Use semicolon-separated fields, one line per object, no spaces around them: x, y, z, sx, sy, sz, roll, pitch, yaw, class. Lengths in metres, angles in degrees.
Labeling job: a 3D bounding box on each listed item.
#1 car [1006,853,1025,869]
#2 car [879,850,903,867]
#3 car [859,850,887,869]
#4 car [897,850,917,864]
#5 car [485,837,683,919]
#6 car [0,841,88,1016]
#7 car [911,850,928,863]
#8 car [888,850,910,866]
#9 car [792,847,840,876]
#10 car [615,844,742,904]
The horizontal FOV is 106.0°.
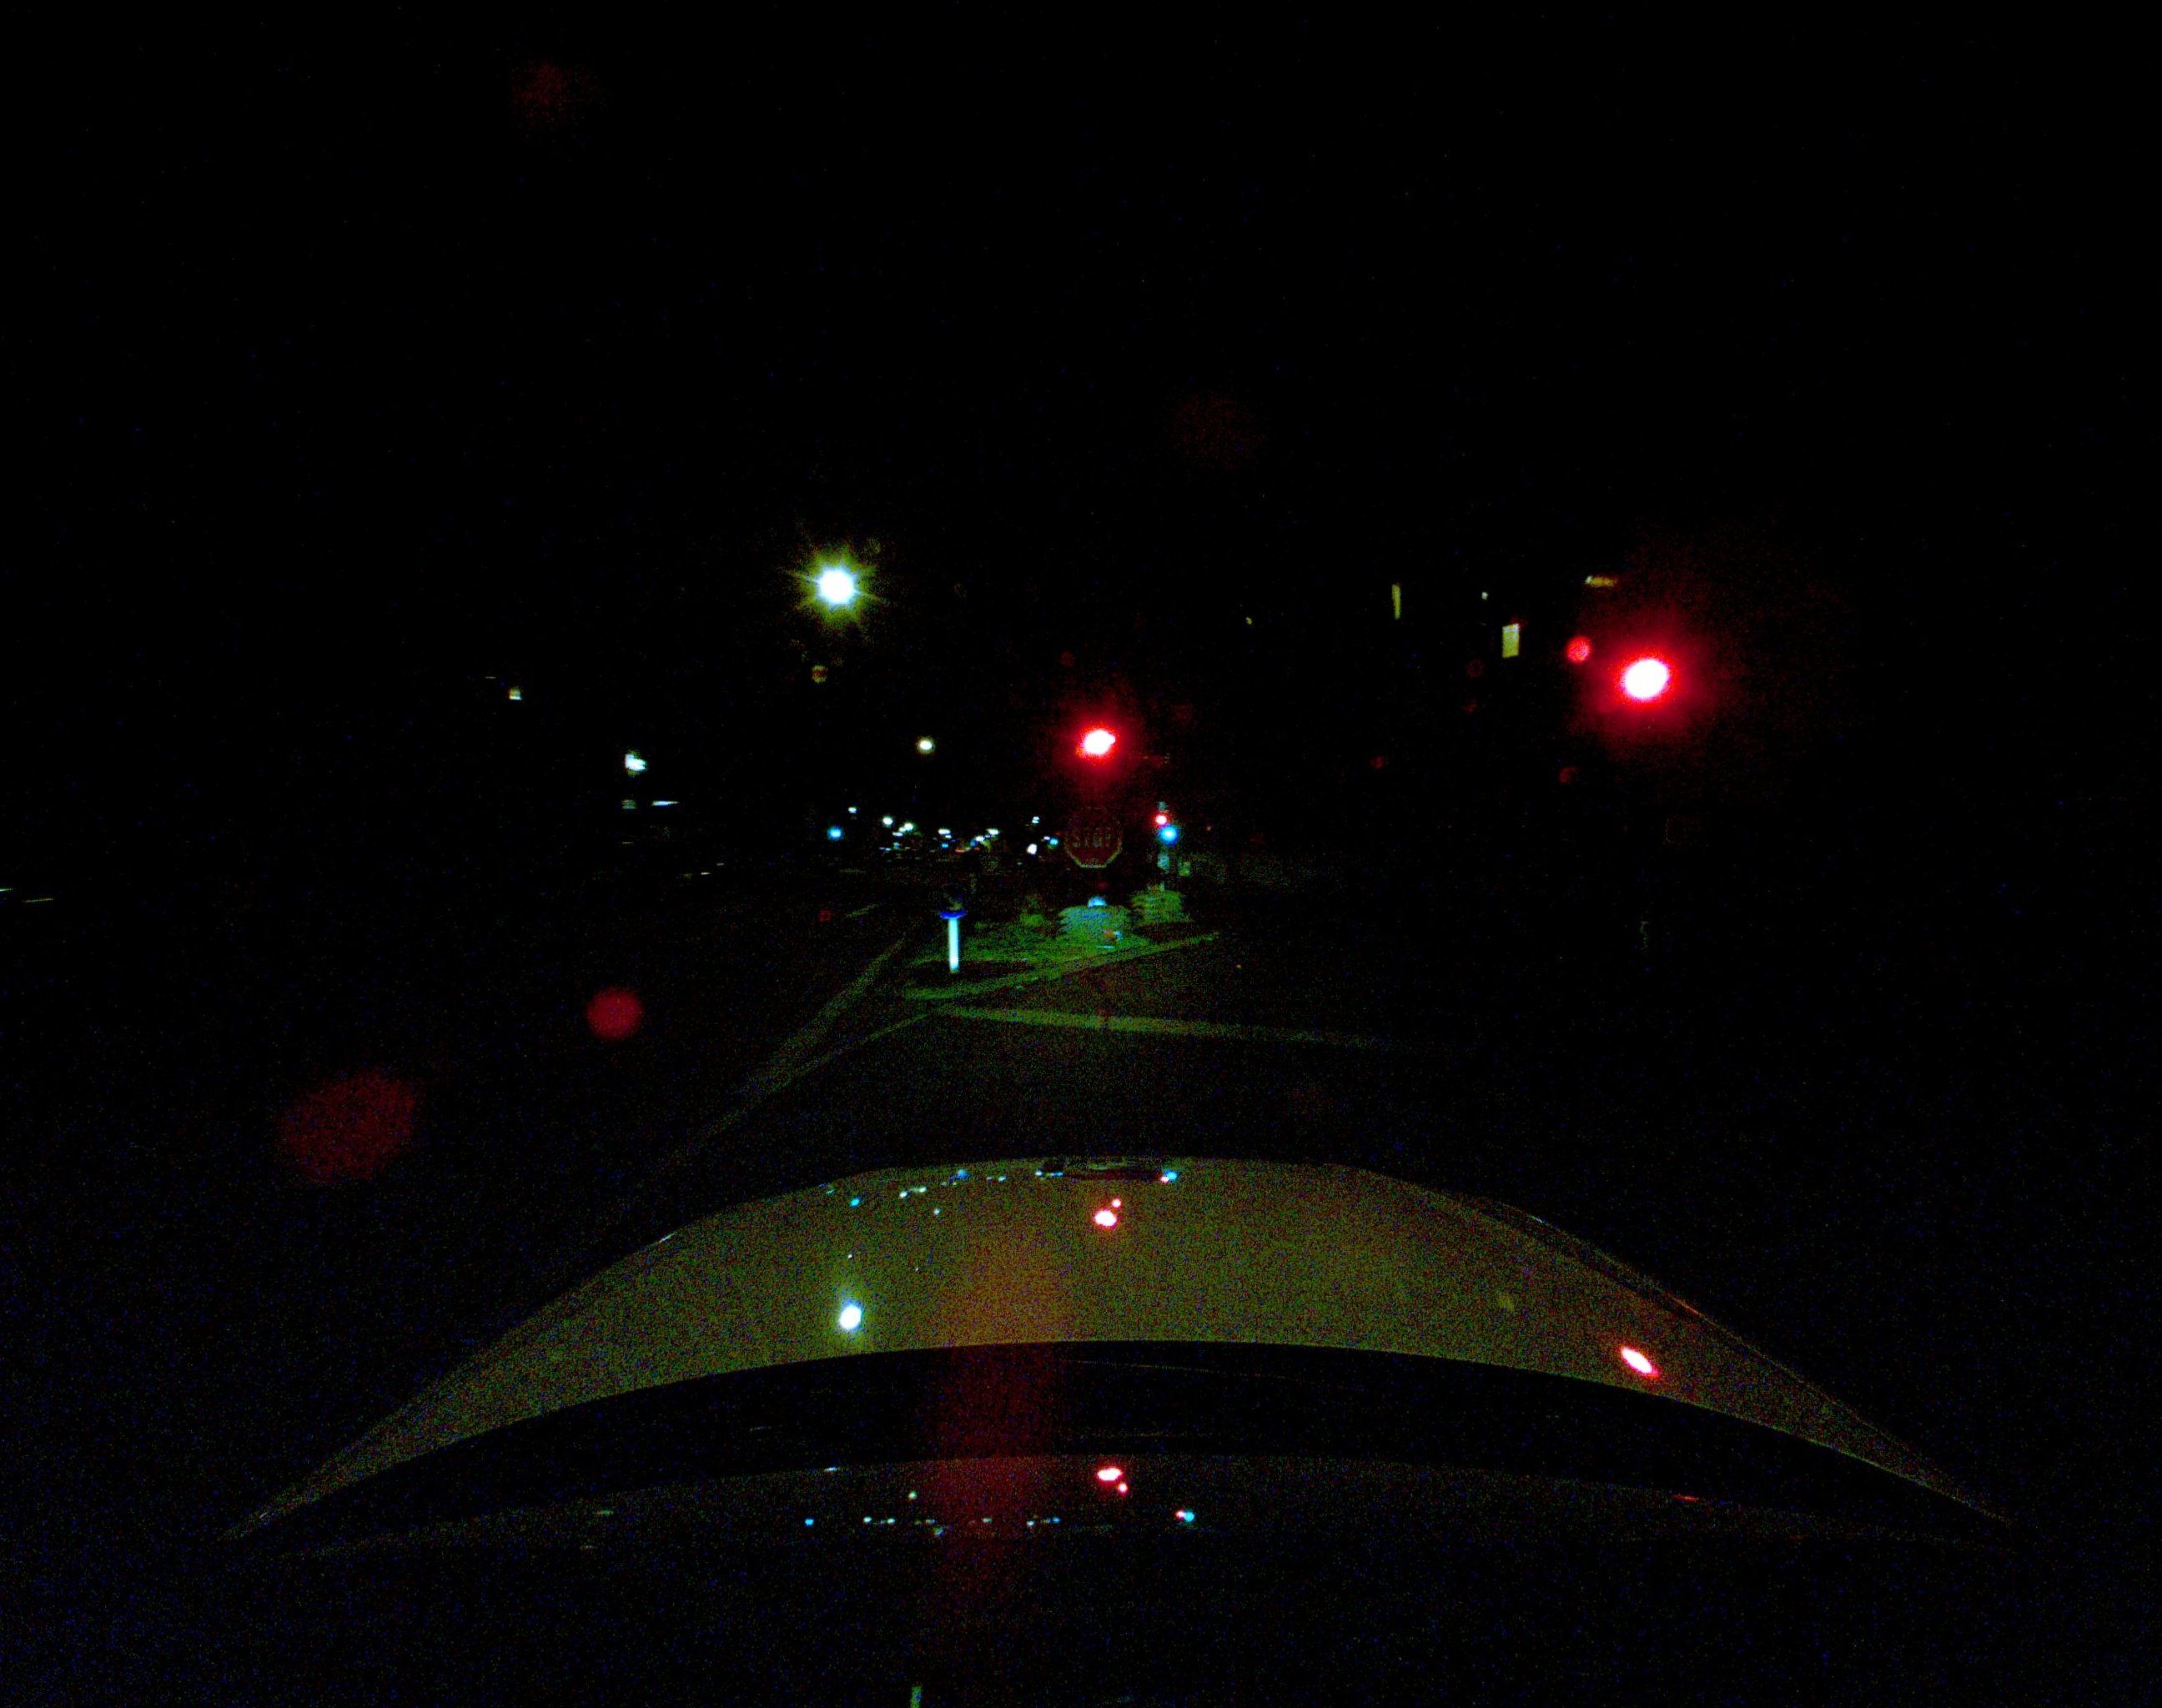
-6.197;0.676;76.835;1.649;1.431;3.993;1;0;-5;car
-17.007;0.380;72.955;1.649;1.431;3.991;1;0;-7;car
-16.491;0.420;64.723;1.649;1.431;3.991;1;0;-7;car
-18.289;0.352;85.763;1.649;1.431;3.991;1;0;-7;car
-10.562;0.472;17.772;1.897;1.471;4.442;3;-1;-6;car
-9.078;0.571;4.725;1.622;1.383;4.437;1;0;-9;car
-19.734;0.304;99.393;1.649;1.431;3.991;1;0;-7;car
-17.599;0.373;78.925;1.649;1.431;3.991;1;0;-7;car
-14.124;0.392;43.612;1.649;1.431;3.991;1;0;-7;car
-11.058;0.509;22.732;1.802;1.481;4.312;1;0;-7;car
